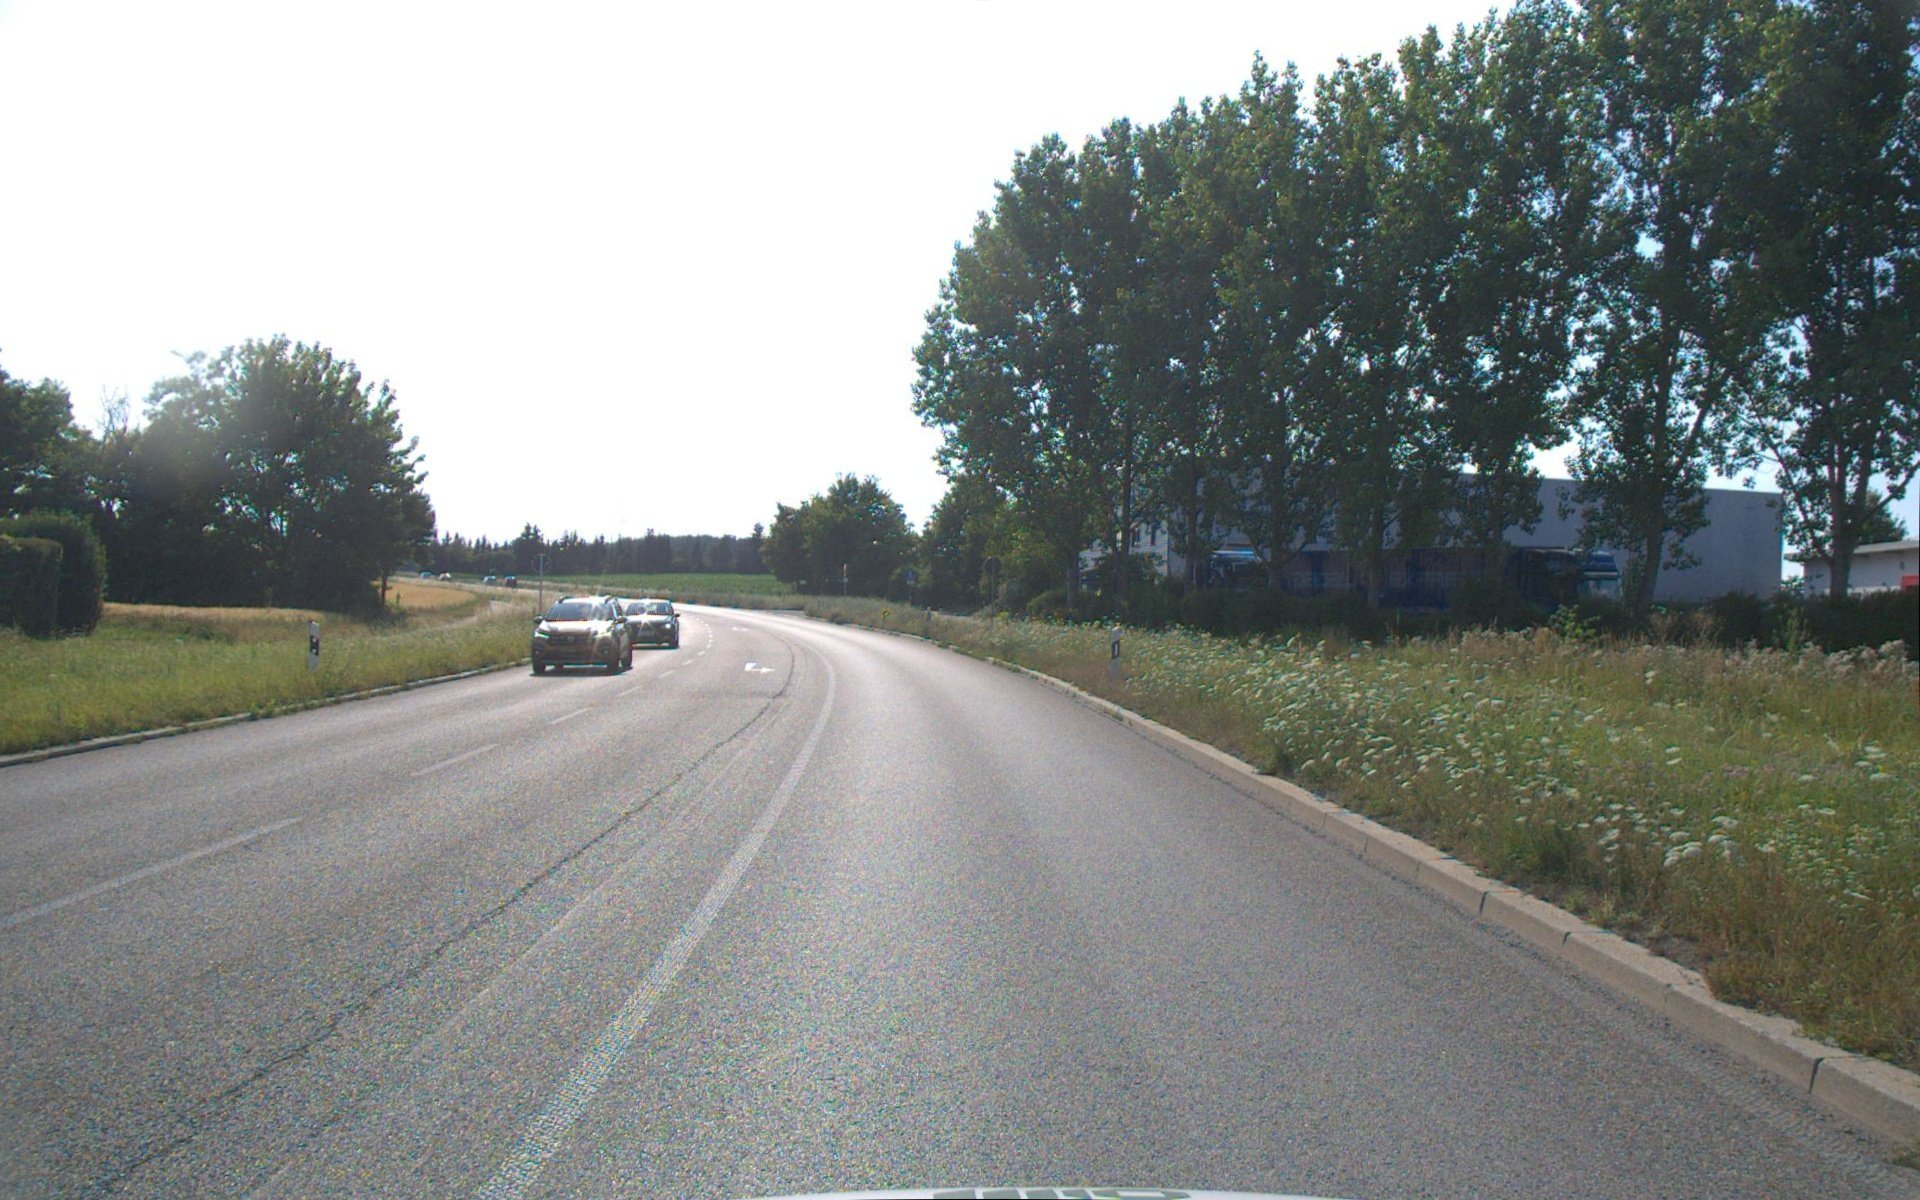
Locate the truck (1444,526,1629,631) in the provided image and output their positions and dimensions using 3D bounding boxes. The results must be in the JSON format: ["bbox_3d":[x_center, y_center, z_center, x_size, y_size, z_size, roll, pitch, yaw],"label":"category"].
[{"bbox_3d":[19.553,-0.667,56.389,2.589,3.217,5.661,5,-2,-26],"label":"truck"}]

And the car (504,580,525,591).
[{"bbox_3d":[-57.887,-1.889,214.672,1.943,1.171,3.837,5,-1,-25],"label":"car"}]

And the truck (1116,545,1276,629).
[{"bbox_3d":[10.712,-0.621,76.381,2.478,3.435,9.613,5,-1,-24],"label":"truck"}]

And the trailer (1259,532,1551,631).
[{"bbox_3d":[16.447,-0.586,62.853,2.651,3.196,13.158,5,-2,-26],"label":"trailer"}]

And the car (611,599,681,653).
[{"bbox_3d":[-9.430,0.755,49.862,1.652,1.372,3.629,4,1,-5],"label":"car"}]

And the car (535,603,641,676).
[{"bbox_3d":[-7.927,0.816,35.539,1.652,1.372,3.995,3,0,-5],"label":"car"}]

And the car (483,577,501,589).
[{"bbox_3d":[-64.870,-2.394,229.305,1.827,1.432,3.615,5,-1,-25],"label":"car"}]
